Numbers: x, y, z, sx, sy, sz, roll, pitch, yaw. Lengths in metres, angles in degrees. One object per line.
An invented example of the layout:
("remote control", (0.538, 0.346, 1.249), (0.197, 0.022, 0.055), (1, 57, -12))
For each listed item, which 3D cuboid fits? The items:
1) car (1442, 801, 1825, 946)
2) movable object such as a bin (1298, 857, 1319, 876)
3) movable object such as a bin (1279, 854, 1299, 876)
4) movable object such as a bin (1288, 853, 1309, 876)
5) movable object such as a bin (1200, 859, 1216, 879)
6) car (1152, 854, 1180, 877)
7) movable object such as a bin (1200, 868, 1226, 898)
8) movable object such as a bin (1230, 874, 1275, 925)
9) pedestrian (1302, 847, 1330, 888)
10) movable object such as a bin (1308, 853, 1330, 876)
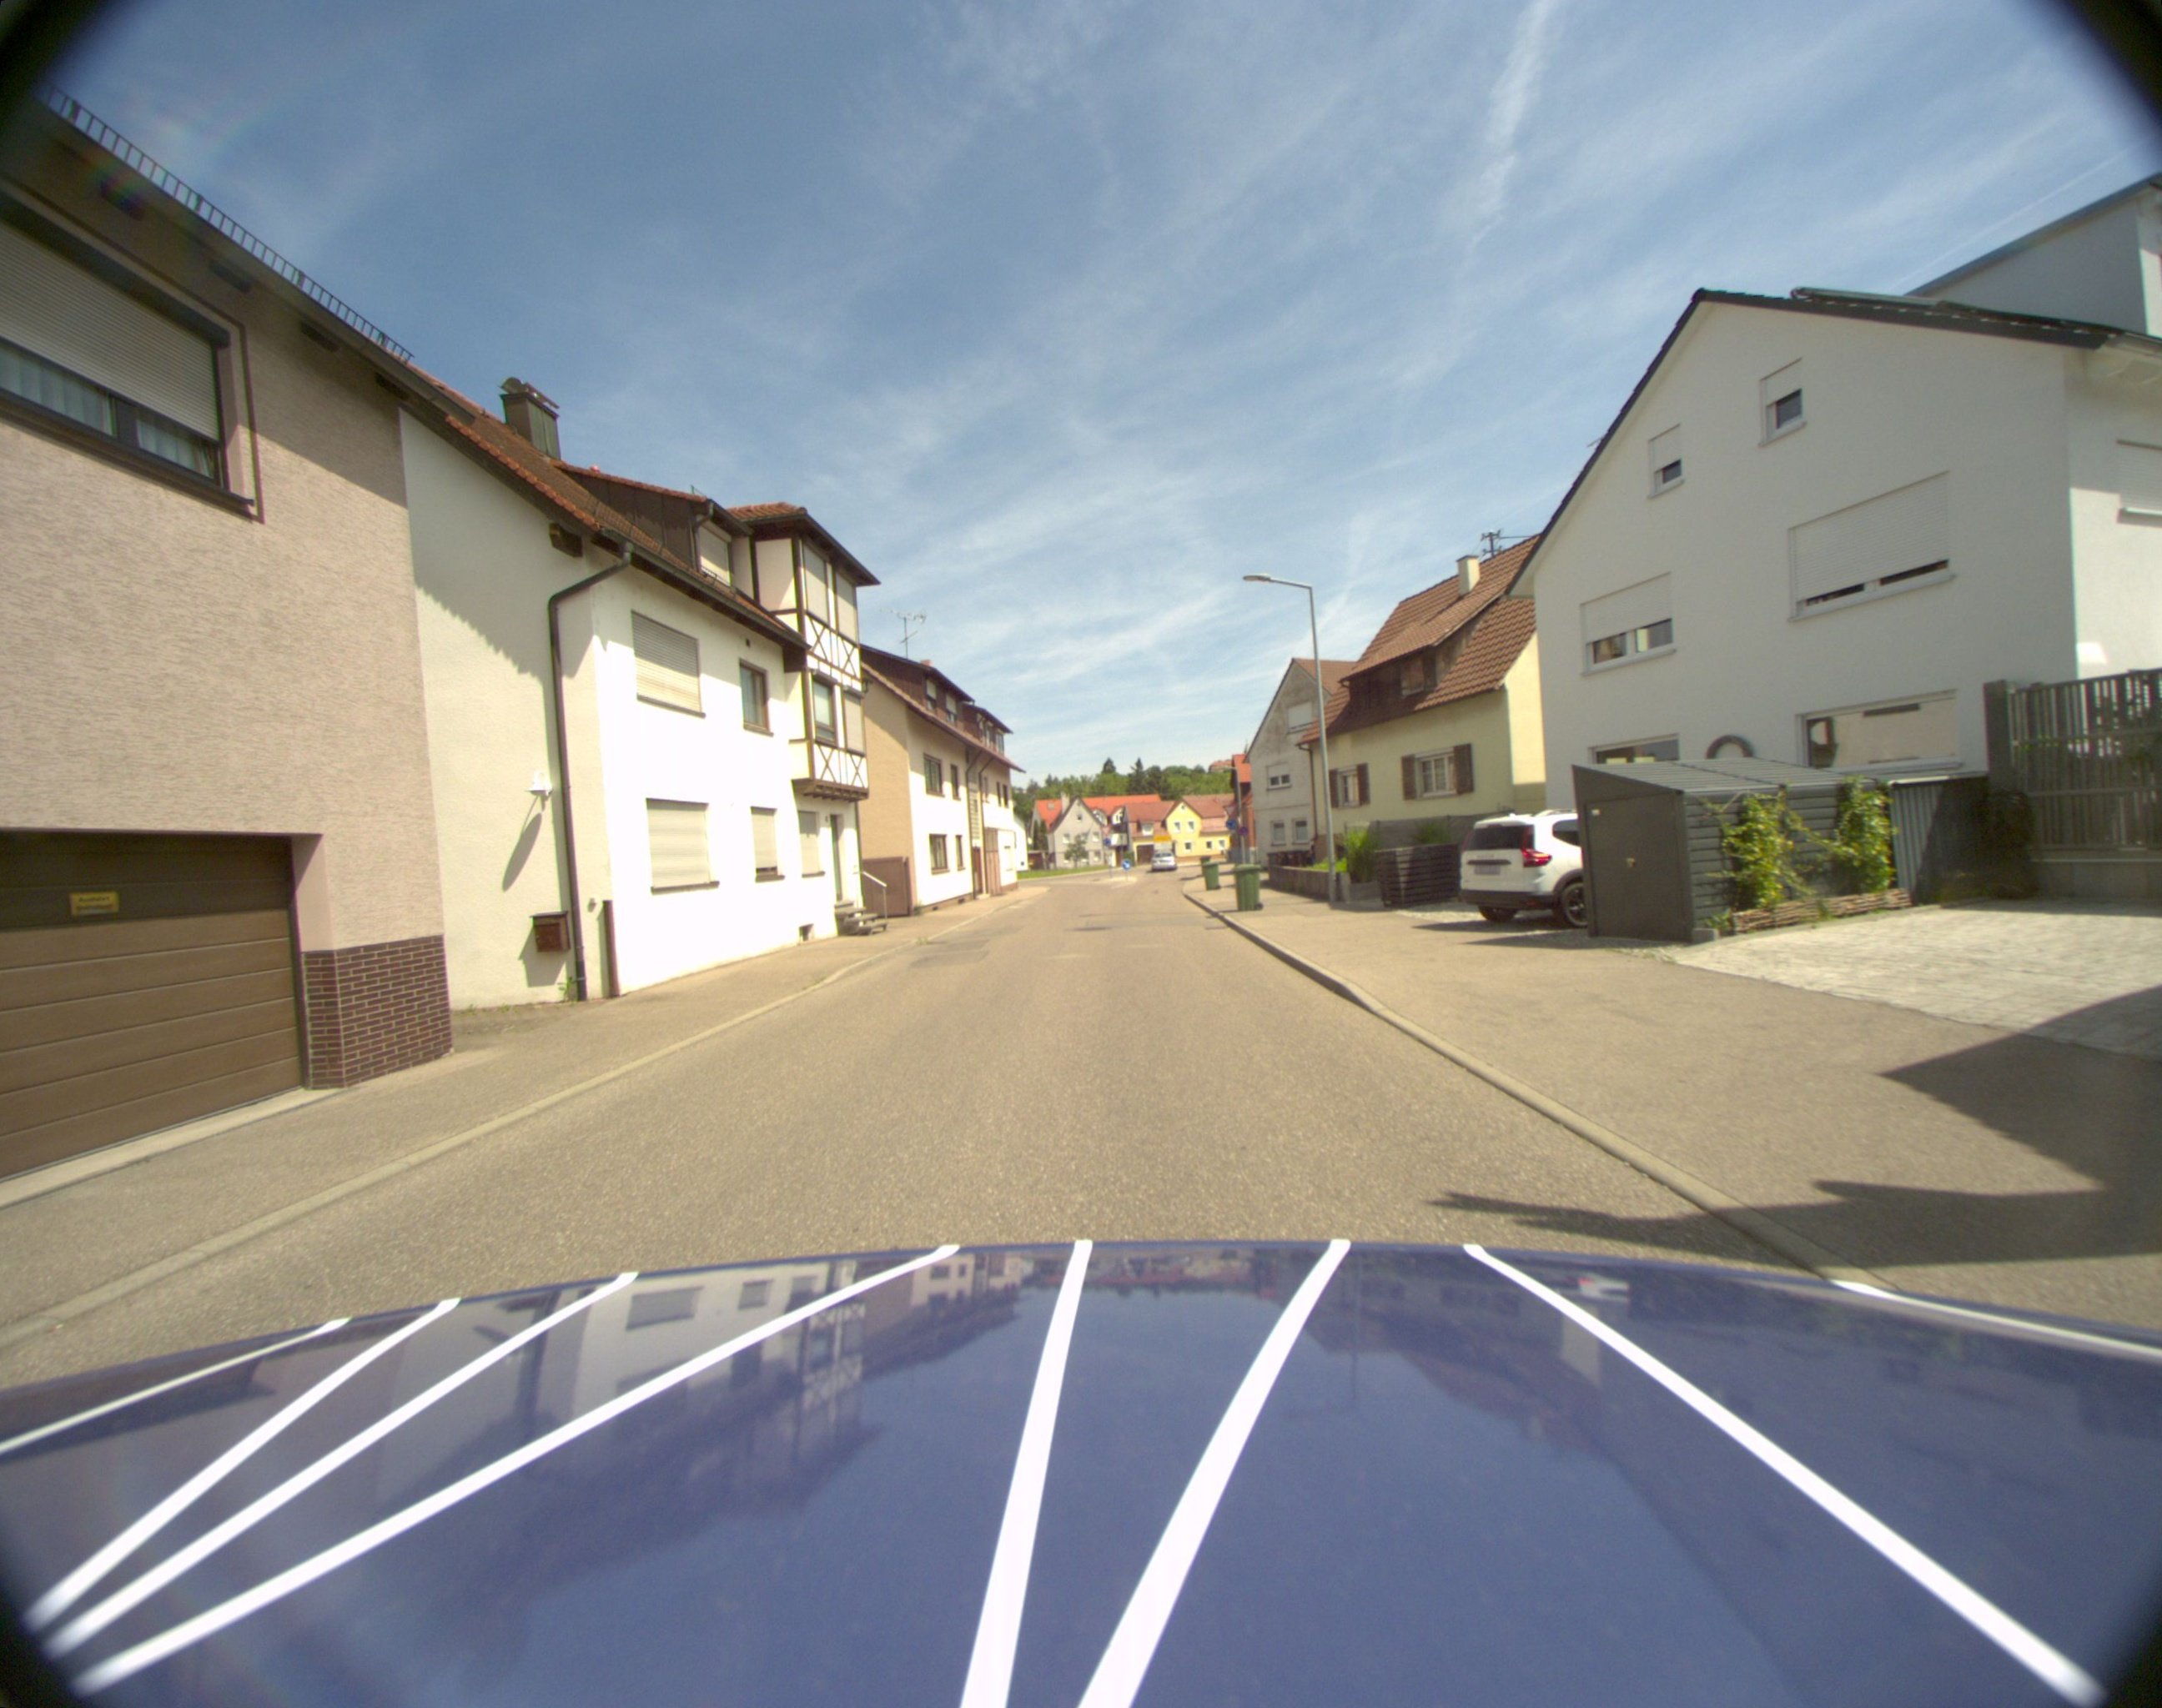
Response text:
("car", (8.033, 0.237, 11.266), (4.416, 1.613, 1.998), (-5, 1, -9))
("movable object such as a bin", (11.426, 0.615, 38.205), (0.685, 0.891, 0.697), (-5, 0, -23))
("movable object such as a bin", (10.849, 0.573, 39.626), (0.685, 1.080, 0.644), (-5, 0, -23))
("movable object such as a bin", (11.134, 0.543, 38.936), (0.685, 1.080, 0.697), (-5, 0, -23))
("movable object such as a bin", (7.504, 0.882, 44.865), (0.810, 1.039, 0.827), (-5, 0, 14))
("car", (6.518, 0.825, 57.950), (1.959, 1.477, 4.461), (-4, 0, 8))
("movable object such as a bin", (4.939, 1.089, 28.378), (0.793, 1.051, 0.651), (-4, 0, 0))
("movable object such as a bin", (3.960, 1.051, 17.611), (0.827, 1.071, 0.818), (-5, 0, 4))
("pedestrian", (9.456, 0.536, 30.570), (0.779, 1.565, 0.627), (-5, 0, -5))
("movable object such as a bin", (11.723, 0.539, 37.474), (0.685, 1.076, 0.697), (-5, 0, -23))
